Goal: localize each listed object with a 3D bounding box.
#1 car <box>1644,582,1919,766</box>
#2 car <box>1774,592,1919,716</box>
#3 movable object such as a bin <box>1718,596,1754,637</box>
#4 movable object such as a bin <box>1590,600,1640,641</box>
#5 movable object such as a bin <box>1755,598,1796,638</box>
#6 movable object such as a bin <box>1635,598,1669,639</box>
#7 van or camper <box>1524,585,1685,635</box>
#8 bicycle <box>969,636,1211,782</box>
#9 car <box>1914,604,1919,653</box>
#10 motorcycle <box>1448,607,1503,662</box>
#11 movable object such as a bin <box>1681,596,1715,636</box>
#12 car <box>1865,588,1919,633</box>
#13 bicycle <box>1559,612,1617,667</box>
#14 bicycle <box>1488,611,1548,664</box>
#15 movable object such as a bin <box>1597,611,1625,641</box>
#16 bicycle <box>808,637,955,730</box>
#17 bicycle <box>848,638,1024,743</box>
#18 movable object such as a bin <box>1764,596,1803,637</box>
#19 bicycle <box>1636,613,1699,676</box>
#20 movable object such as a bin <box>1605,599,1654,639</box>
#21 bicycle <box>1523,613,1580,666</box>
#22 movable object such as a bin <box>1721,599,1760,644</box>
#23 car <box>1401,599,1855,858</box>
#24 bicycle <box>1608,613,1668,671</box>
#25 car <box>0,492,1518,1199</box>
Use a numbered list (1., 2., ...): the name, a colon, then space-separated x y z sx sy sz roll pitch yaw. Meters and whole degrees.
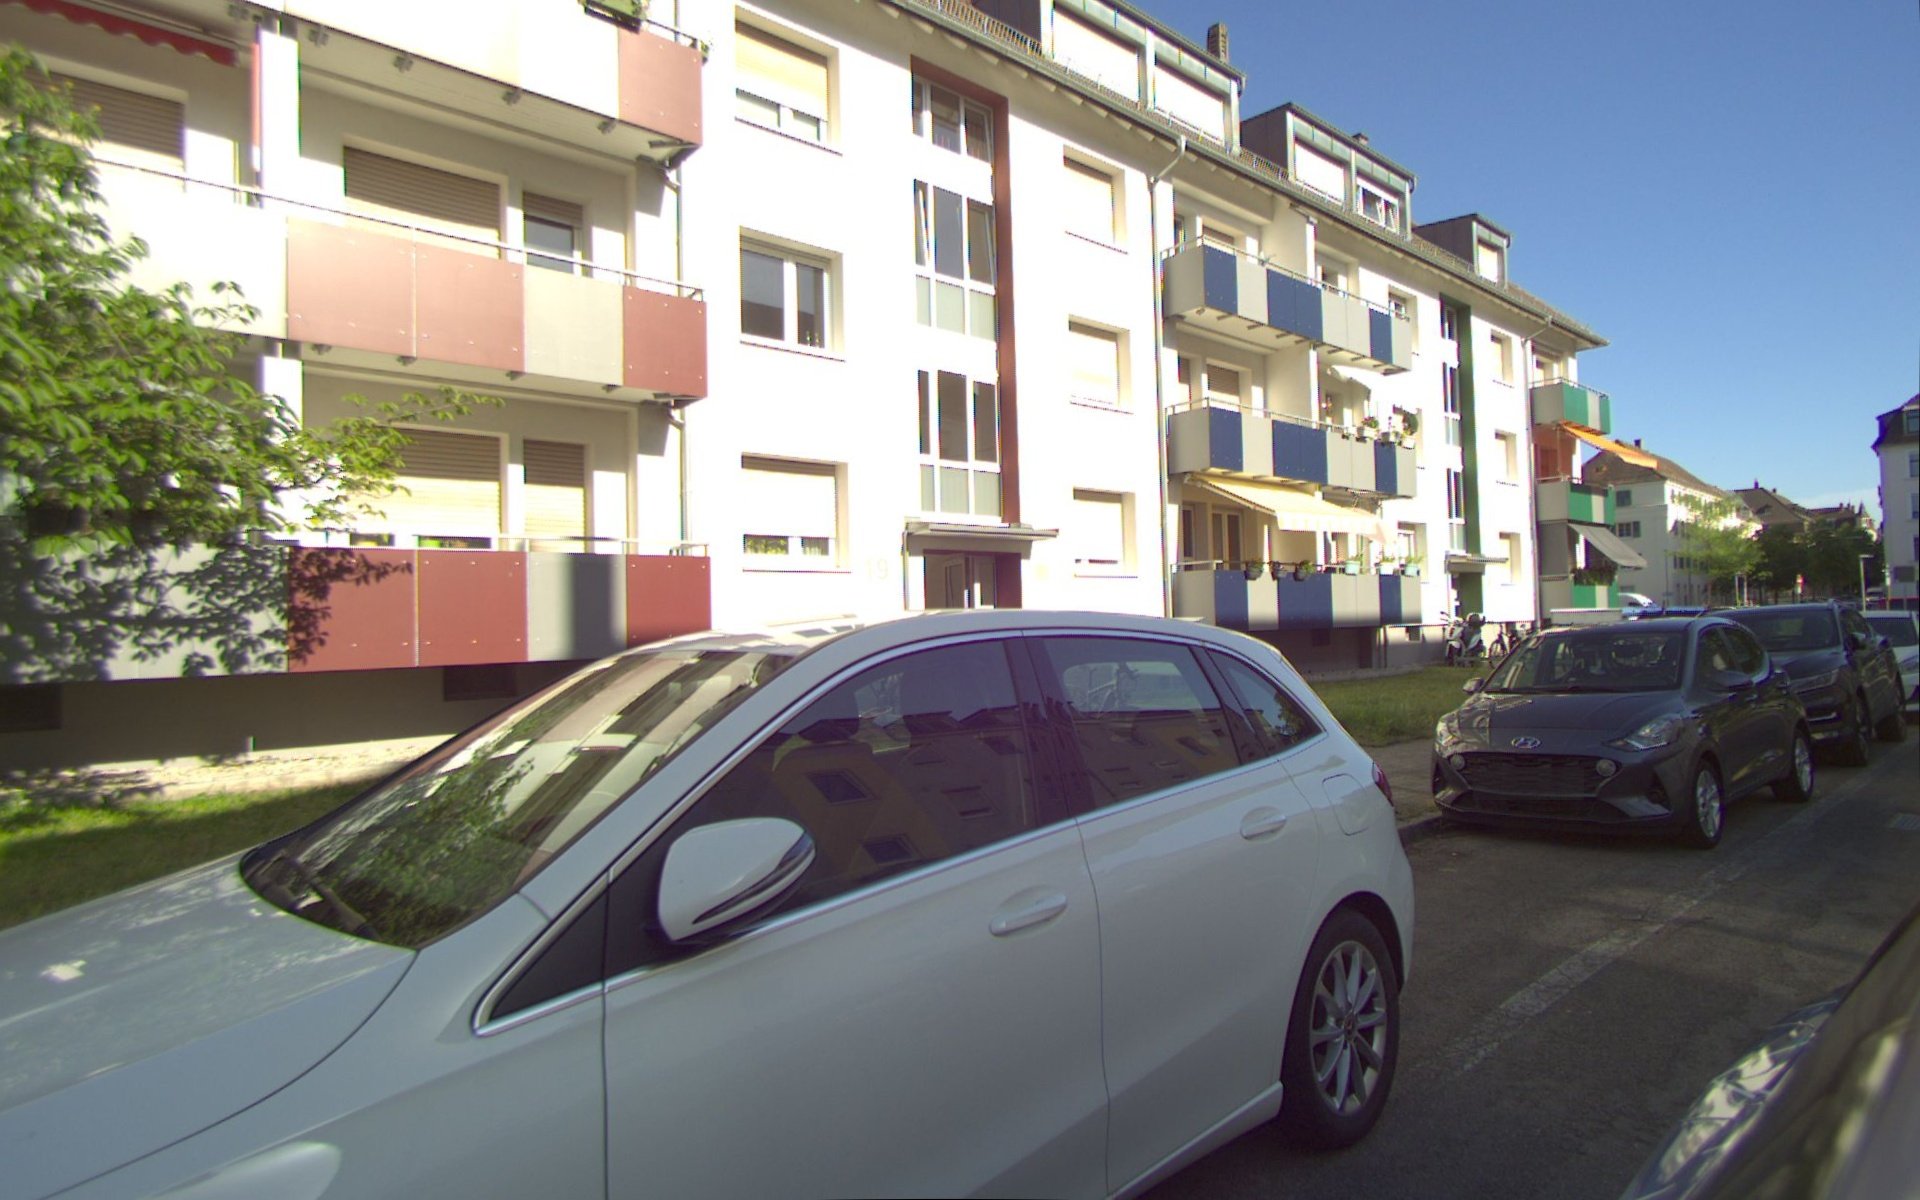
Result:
1. car: 9.036 0.654 10.888 4.277 1.599 1.725 0 -1 -41
2. car: 13.025 0.711 14.237 3.787 1.529 1.715 0 -5 -41
3. movable object such as a bin: 28.055 0.597 36.587 0.907 1.466 0.864 0 -2 -44
4. movable object such as a bin: 24.142 0.743 37.313 1.257 1.466 1.237 0 -2 -43
5. movable object such as a bin: 27.881 0.624 34.603 0.852 1.342 0.920 0 -2 -42
6. movable object such as a bin: 26.375 0.707 38.567 0.906 1.539 0.865 0 -2 -42
7. van or camper: 34.701 0.577 54.747 2.137 2.532 6.979 0 -1 -38
8. bicycle: 1.135 0.938 9.549 0.862 1.144 2.432 0 -1 -34
9. car: 22.100 0.724 21.865 4.027 1.437 1.692 0 -4 -41
10. motorcycle: 12.245 0.802 24.002 1.942 1.254 0.442 0 -1 -41
11. movable object such as a bin: 27.234 0.583 37.345 0.907 1.466 0.864 0 -2 -44
12. car: 45.071 0.452 46.377 1.963 2.040 4.992 0 -2 -37
13. bicycle: 13.650 0.839 21.985 1.840 1.135 0.544 0 -1 -42
14. bicycle: 12.751 0.837 23.117 1.840 1.130 0.597 0 -2 -42
15. movable object such as a bin: 23.432 0.926 36.406 0.570 1.066 0.717 0 1 -42
16. bicycle: -0.980 1.033 12.980 1.940 1.050 0.521 0 -1 -40
17. bicycle: -0.237 1.012 11.881 2.247 1.062 0.521 0 0 -40
18. movable object such as a bin: 28.794 0.591 35.389 0.852 1.416 0.920 0 -2 -42
19. bicycle: 14.134 0.858 20.201 1.839 1.185 0.545 0 0 -39
20. movable object such as a bin: 25.237 0.699 38.161 1.257 1.466 1.237 0 -2 -43
21. bicycle: 13.172 0.852 22.519 1.840 1.096 0.539 0 0 -42
22. movable object such as a bin: 25.633 0.702 33.228 0.907 1.466 0.864 0 -2 -44
23. car: 5.274 0.805 7.809 3.986 1.468 1.650 -1 -4 -38
24. bicycle: 14.234 0.848 21.228 1.840 1.147 0.578 0 -1 -42
25. car: -0.364 0.699 2.605 4.404 1.524 1.773 0 -3 -42
